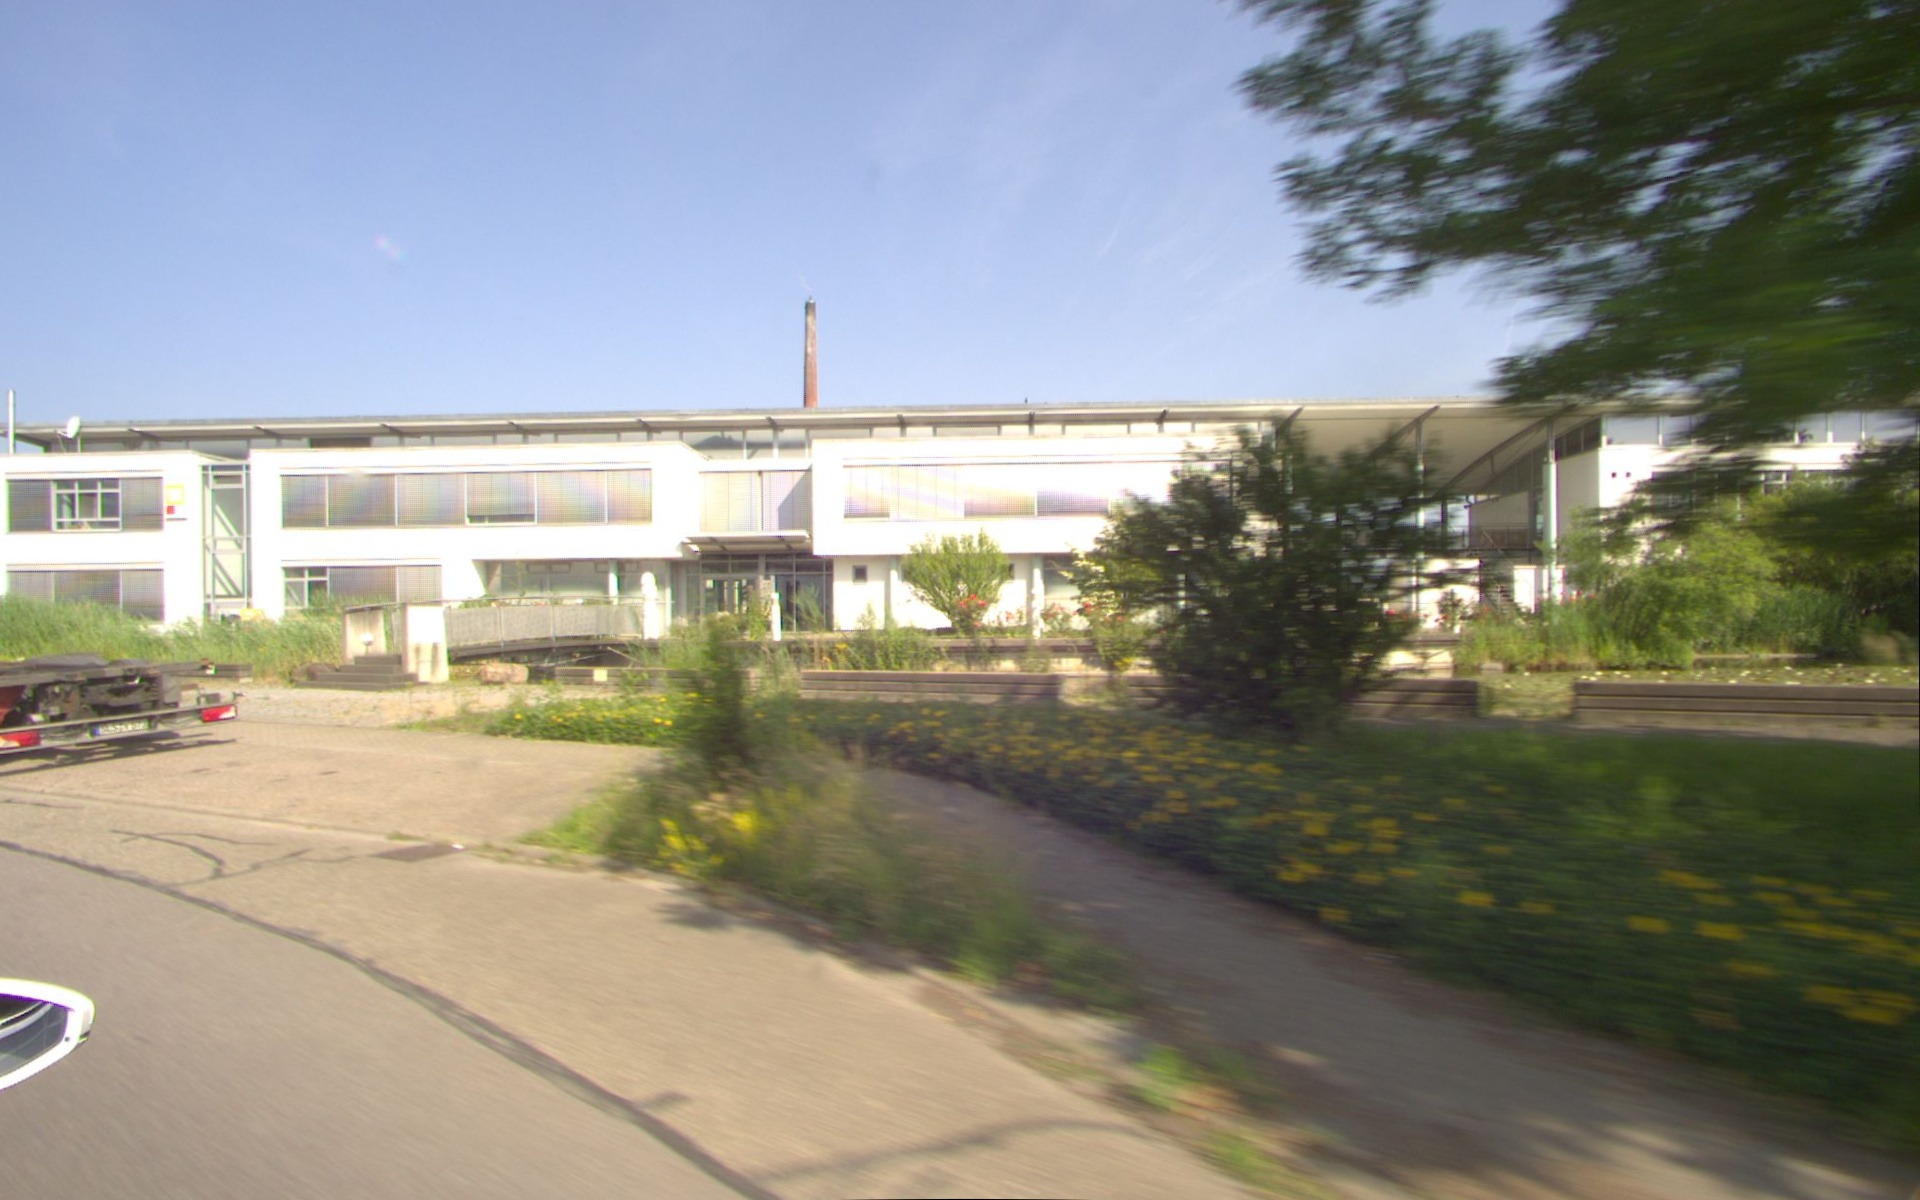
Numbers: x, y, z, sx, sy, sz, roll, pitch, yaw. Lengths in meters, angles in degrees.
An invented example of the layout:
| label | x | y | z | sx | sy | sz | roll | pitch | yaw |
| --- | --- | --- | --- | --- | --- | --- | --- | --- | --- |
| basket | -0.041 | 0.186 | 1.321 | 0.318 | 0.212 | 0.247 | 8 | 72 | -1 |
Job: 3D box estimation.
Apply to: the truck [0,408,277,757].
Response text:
| label | x | y | z | sx | sy | sz | roll | pitch | yaw |
| --- | --- | --- | --- | --- | --- | --- | --- | --- | --- |
| truck | -13.701 | -0.106 | 13.438 | 9.598 | 3.584 | 2.886 | -2 | 2 | 26 |
